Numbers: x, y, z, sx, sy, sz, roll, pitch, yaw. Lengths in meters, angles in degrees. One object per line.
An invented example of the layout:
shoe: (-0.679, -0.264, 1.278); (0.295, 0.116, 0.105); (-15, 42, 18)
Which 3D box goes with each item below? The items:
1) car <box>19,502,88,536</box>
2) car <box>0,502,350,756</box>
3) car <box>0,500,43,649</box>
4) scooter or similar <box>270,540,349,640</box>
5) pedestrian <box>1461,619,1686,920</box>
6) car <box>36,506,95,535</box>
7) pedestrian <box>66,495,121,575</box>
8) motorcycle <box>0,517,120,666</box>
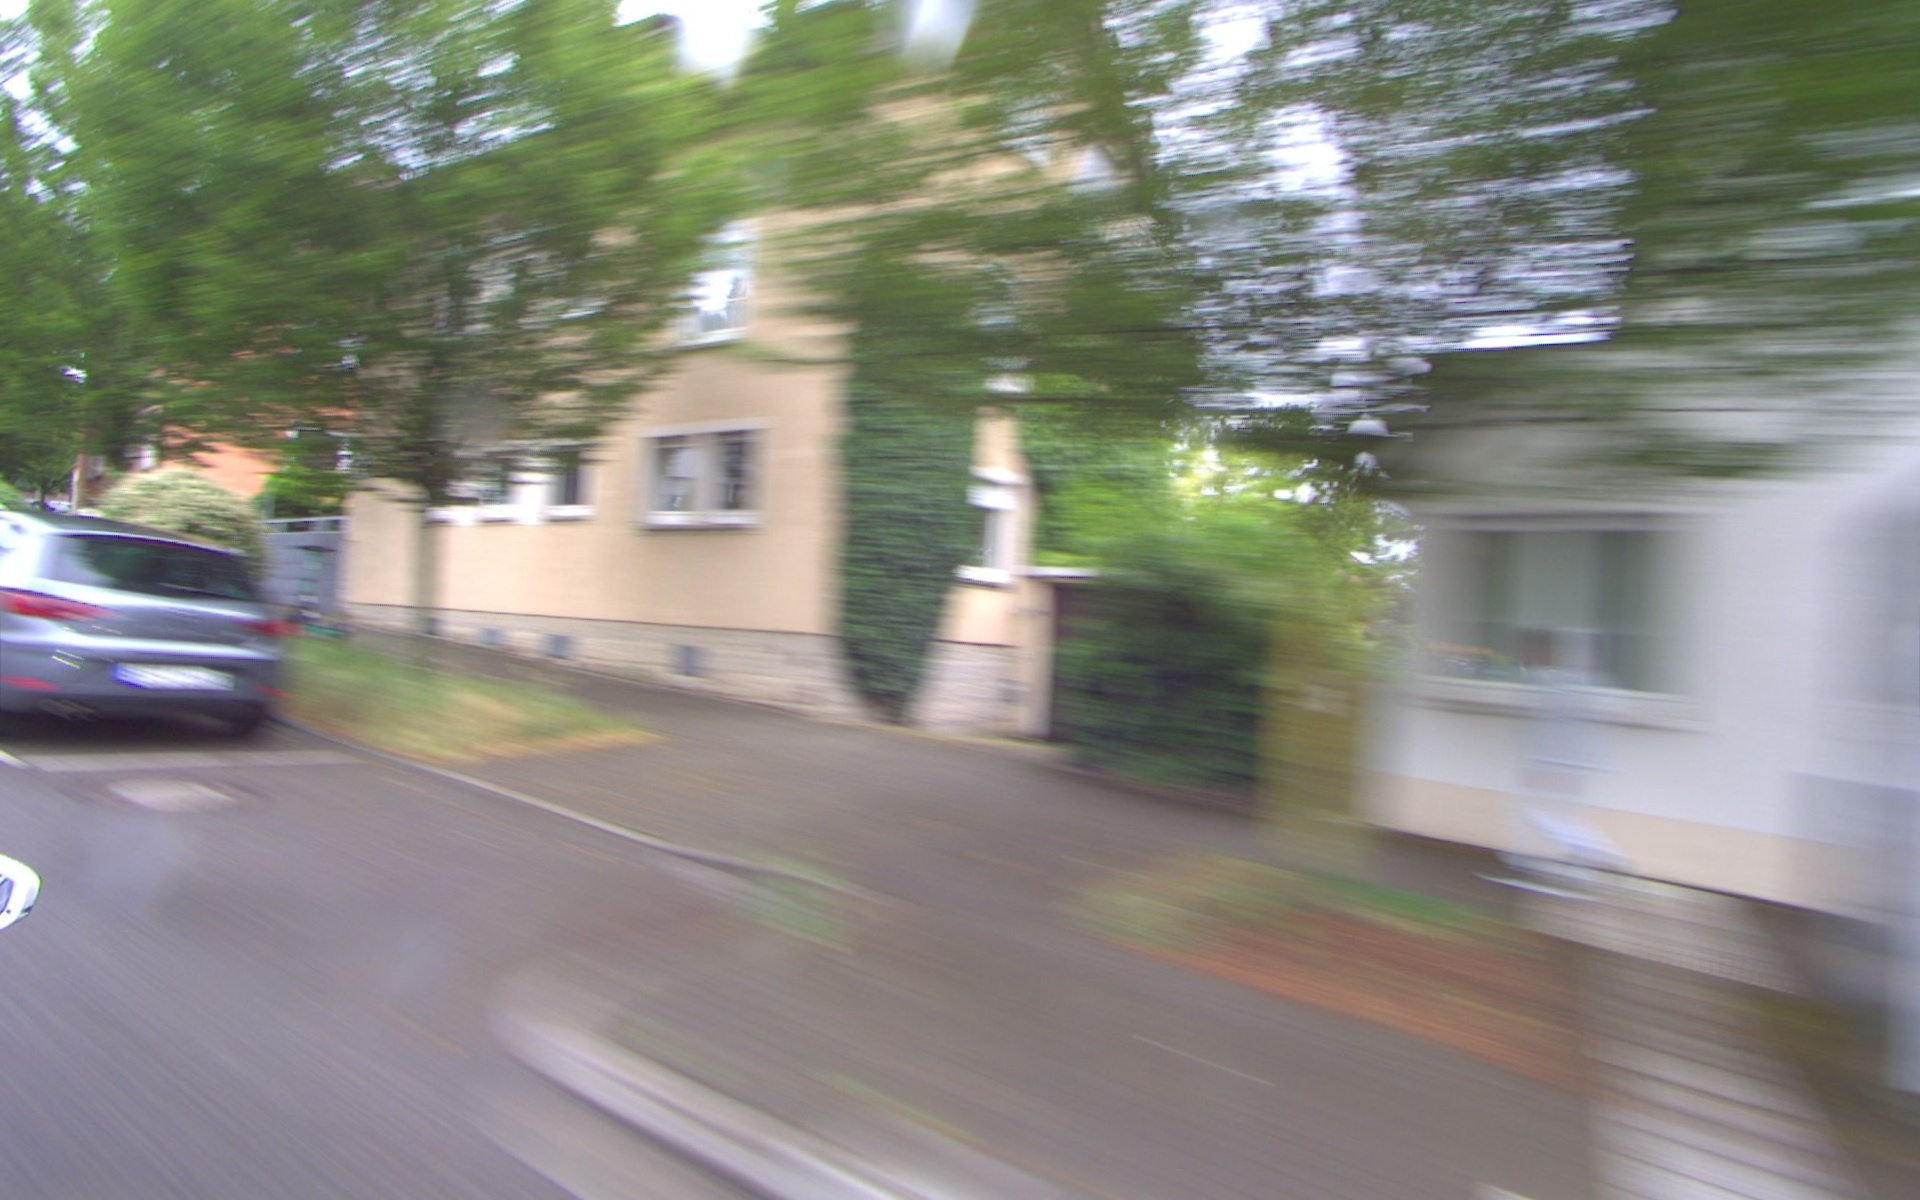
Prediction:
car: (-52.815, -4.699, 58.690); (1.762, 1.571, 4.694); (9, -2, -28)
car: (-6.751, 0.054, 7.613); (4.396, 1.433, 1.880); (6, -2, 34)
car: (-11.741, -0.497, 10.960); (3.937, 1.506, 1.659); (6, -2, 35)
scooter or similar: (-9.034, -0.148, 13.952); (1.156, 1.260, 0.413); (6, 0, 35)
pedestrian: (4.011, 1.037, 6.625); (1.028, 1.708, 0.832); (7, 3, 33)
car: (-56.549, -4.991, 63.656); (1.630, 1.440, 4.259); (9, -2, -27)
pedestrian: (-19.877, -1.484, 23.066); (0.889, 1.743, 0.758); (6, 3, 40)
motorcycle: (-9.353, -0.143, 9.490); (0.774, 1.345, 1.918); (7, -2, 29)
